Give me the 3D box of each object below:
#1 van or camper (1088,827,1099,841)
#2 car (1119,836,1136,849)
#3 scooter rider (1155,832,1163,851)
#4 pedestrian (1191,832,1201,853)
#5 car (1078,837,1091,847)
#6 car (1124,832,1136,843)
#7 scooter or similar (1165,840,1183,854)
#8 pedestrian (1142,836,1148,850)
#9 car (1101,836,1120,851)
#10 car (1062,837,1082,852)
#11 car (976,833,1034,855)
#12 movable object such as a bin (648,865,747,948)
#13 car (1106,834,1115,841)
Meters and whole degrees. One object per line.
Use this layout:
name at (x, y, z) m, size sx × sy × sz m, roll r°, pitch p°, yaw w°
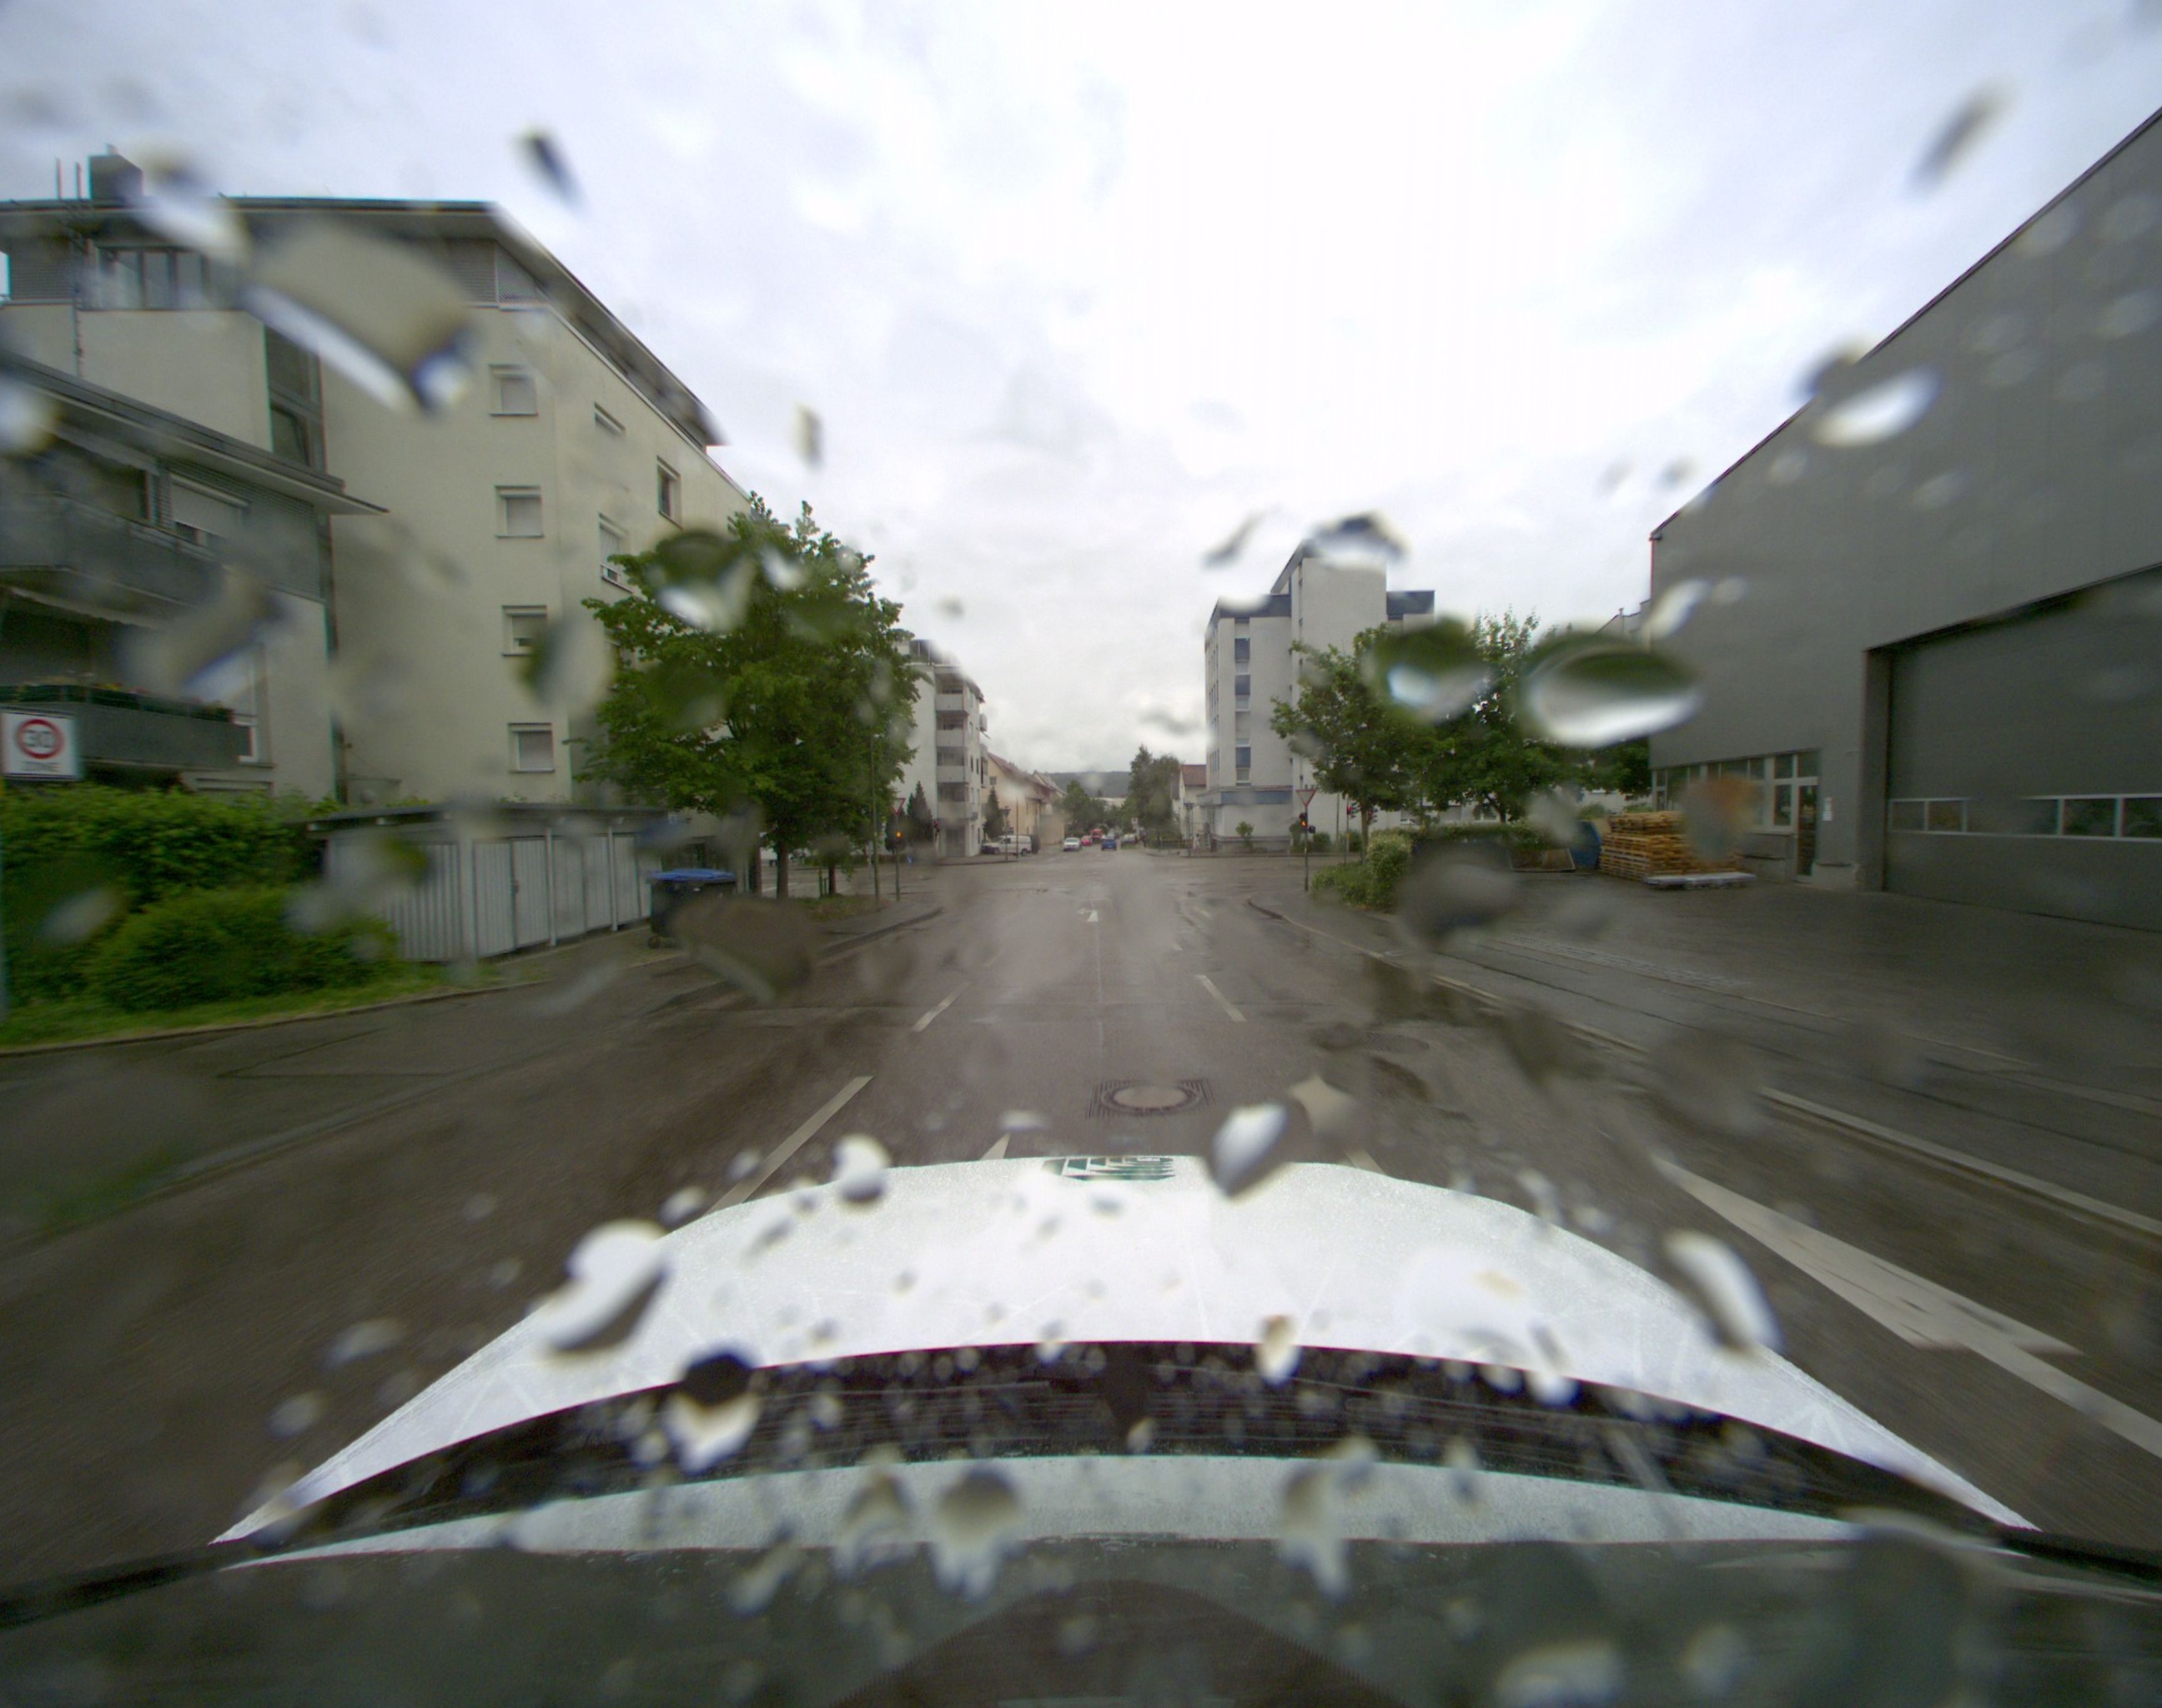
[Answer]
van or camper at (2.433, -3.707, 153.448) m, size 1.894 × 2.513 × 4.242 m, roll -2°, pitch 1°, yaw 3°
car at (6.146, -1.505, 107.831) m, size 2.137 × 1.589 × 4.131 m, roll -2°, pitch 1°, yaw 3°
scooter rider at (7.814, -1.238, 81.432) m, size 0.749 × 1.795 × 0.673 m, roll -2°, pitch 1°, yaw 1°
pedestrian at (9.270, -0.937, 65.853) m, size 0.646 × 1.647 × 0.525 m, roll 1°, pitch 0°, yaw -4°
car at (0.636, -1.981, 130.759) m, size 1.894 × 1.558 × 4.195 m, roll -2°, pitch 1°, yaw 3°
car at (7.792, -2.620, 129.931) m, size 1.894 × 1.745 × 4.195 m, roll -2°, pitch 1°, yaw 3°
scooter or similar at (7.373, -0.586, 64.741) m, size 1.265 × 1.081 × 0.876 m, roll -2°, pitch 1°, yaw -3°
pedestrian at (8.458, -1.436, 106.917) m, size 0.742 × 1.848 × 0.526 m, roll 2°, pitch 0°, yaw 4°
car at (3.509, -1.247, 97.347) m, size 1.987 × 1.683 × 4.000 m, roll -2°, pitch 1°, yaw 0°
car at (-1.009, -1.134, 94.311) m, size 1.985 × 1.625 × 4.195 m, roll -2°, pitch 1°, yaw 3°
car at (-6.871, -0.892, 74.132) m, size 4.866 × 1.835 × 1.978 m, roll -3°, pitch 1°, yaw -36°
movable object such as a bin at (-6.613, 0.881, 14.120) m, size 1.068 × 1.347 × 1.319 m, roll 1°, pitch 0°, yaw 0°
car at (6.464, -3.607, 180.895) m, size 1.894 × 1.558 × 4.195 m, roll -2°, pitch 1°, yaw 3°
